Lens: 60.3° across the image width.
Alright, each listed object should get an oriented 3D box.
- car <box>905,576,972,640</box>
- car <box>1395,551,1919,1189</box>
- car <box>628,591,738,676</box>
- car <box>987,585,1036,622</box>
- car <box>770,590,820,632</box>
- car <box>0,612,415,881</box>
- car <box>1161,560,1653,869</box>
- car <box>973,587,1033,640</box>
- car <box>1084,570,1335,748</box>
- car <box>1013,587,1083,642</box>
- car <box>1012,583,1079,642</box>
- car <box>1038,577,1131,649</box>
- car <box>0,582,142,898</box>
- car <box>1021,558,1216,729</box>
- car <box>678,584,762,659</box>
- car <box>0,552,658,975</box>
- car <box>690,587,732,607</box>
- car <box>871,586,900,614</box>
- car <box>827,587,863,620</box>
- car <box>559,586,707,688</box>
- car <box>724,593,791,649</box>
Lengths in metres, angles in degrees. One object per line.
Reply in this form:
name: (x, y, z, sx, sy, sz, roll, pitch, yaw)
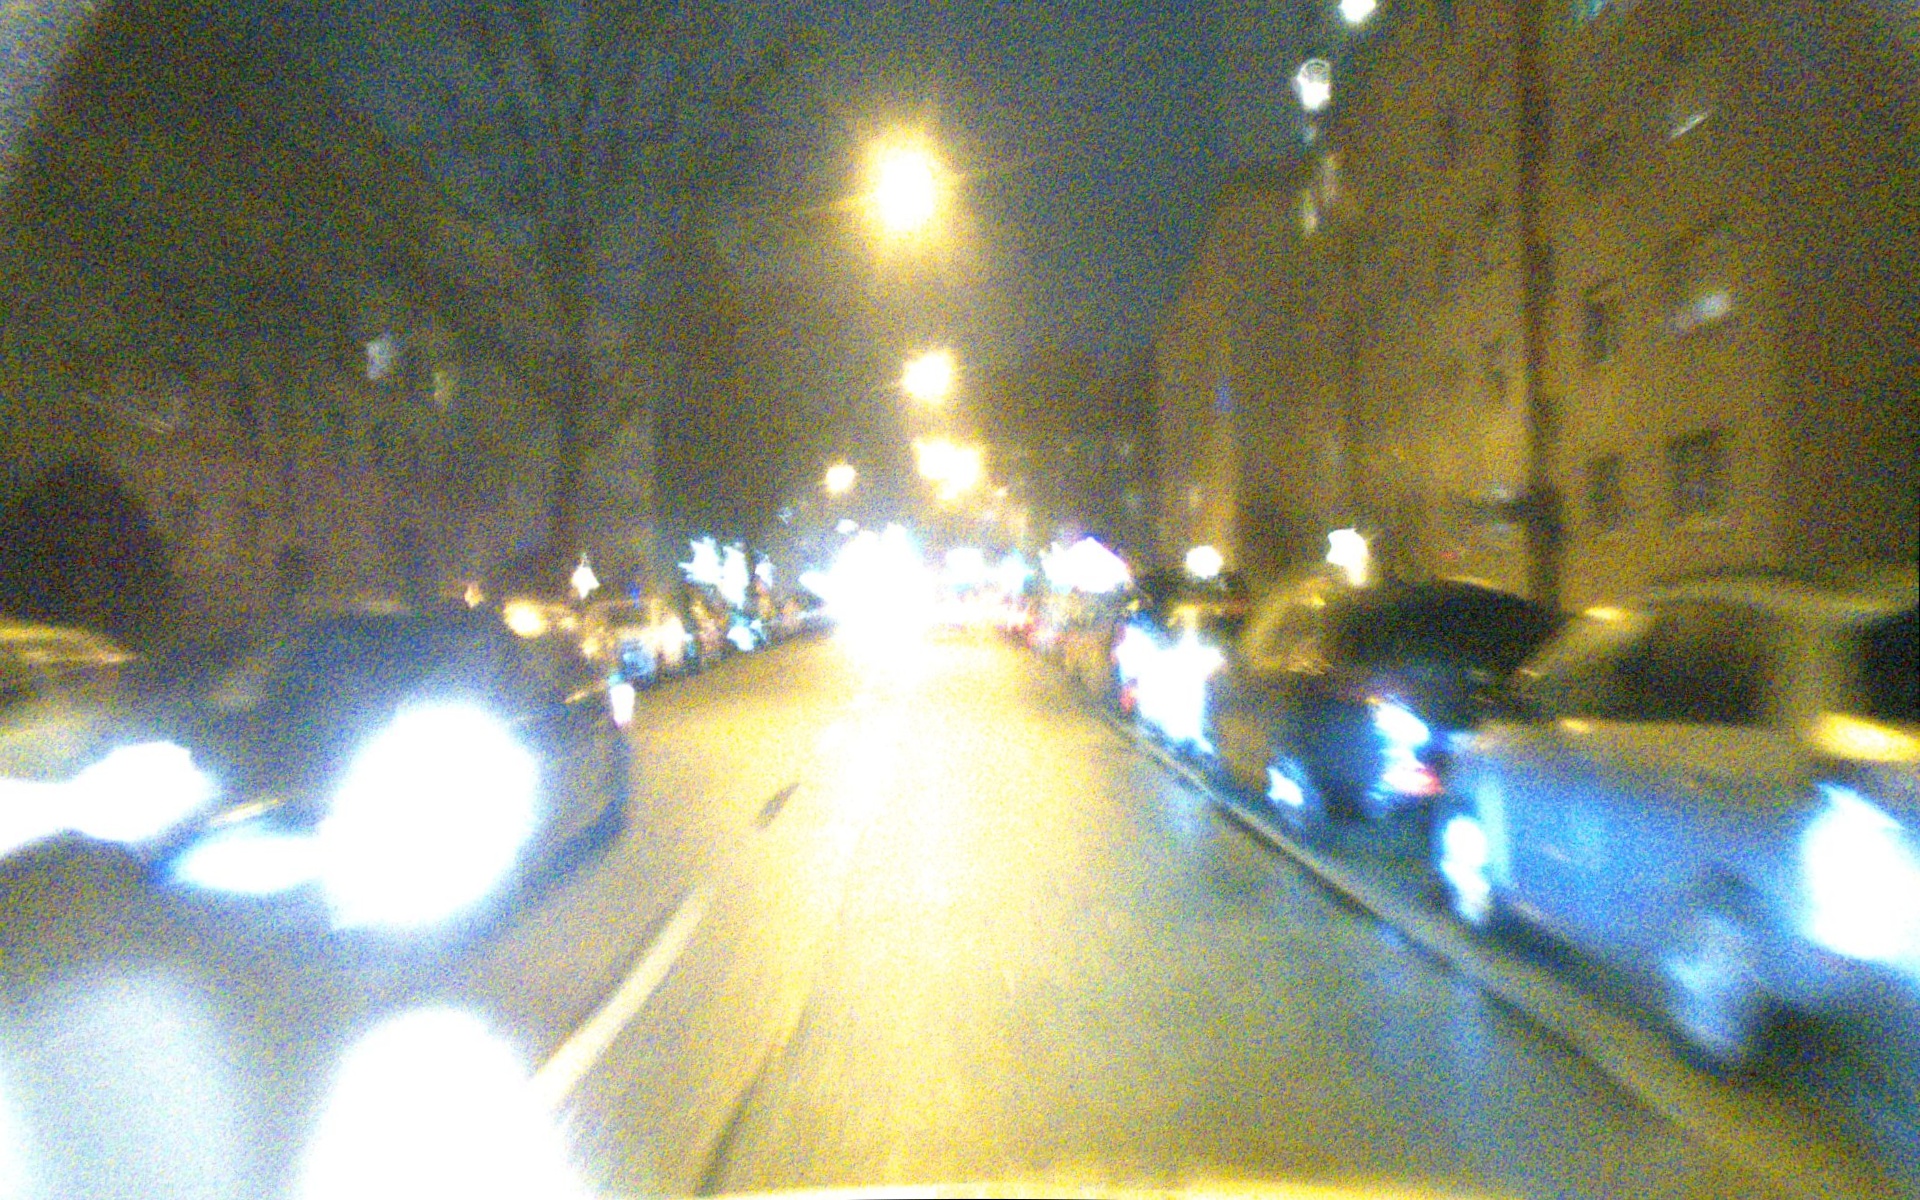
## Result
car: (-0.677, 0.245, 56.467, 2.123, 2.006, 4.302, -2, 0, 1)
car: (3.131, 0.629, 6.107, 1.760, 1.574, 3.949, -2, 1, -3)
car: (-5.769, 0.646, 34.890, 1.633, 1.566, 4.389, -4, 1, -2)
car: (2.129, 0.116, 69.547, 1.786, 1.446, 4.487, -2, 1, -1)
car: (-6.263, 0.400, 63.190, 1.566, 1.456, 4.003, -4, 1, -2)
car: (-5.555, 0.888, 11.967, 1.586, 1.443, 4.676, -2, 1, 1)
car: (2.746, 0.603, 11.429, 1.830, 1.607, 4.745, -2, 1, -3)
car: (1.405, 0.402, 53.824, 1.787, 1.574, 4.353, -2, 1, 2)
car: (2.465, 0.528, 17.274, 1.760, 1.574, 3.949, -2, 1, -3)
car: (2.260, 0.348, 43.150, 1.427, 1.329, 3.627, -2, 1, -2)
car: (2.479, 0.324, 49.020, 1.718, 1.574, 4.978, -2, 1, 1)
car: (2.871, 0.271, 38.864, 1.641, 1.513, 4.278, -2, 1, -2)
car: (-5.629, 0.735, 7.563, 1.671, 1.566, 4.059, -2, 1, 0)
car: (2.027, 0.498, 22.912, 1.760, 1.984, 5.850, -2, 1, -3)
car: (-5.821, 0.485, 40.541, 1.713, 1.625, 4.386, -4, 1, -5)
car: (-2.852, 0.607, 8.570, 1.671, 1.566, 4.371, -2, 1, 1)
car: (-19.370, -0.230, 128.815, 1.677, 1.456, 3.921, -1, 1, 18)
car: (-5.813, -0.015, 128.659, 1.994, 1.987, 5.196, -3, 1, -4)
car: (-6.179, 0.163, 89.354, 1.566, 1.591, 4.379, -4, 1, 0)
car: (-5.751, 0.591, 29.585, 1.632, 1.566, 4.391, -4, 1, 1)
car: (-5.921, 0.591, 48.648, 1.402, 1.485, 3.374, -4, 1, 1)
